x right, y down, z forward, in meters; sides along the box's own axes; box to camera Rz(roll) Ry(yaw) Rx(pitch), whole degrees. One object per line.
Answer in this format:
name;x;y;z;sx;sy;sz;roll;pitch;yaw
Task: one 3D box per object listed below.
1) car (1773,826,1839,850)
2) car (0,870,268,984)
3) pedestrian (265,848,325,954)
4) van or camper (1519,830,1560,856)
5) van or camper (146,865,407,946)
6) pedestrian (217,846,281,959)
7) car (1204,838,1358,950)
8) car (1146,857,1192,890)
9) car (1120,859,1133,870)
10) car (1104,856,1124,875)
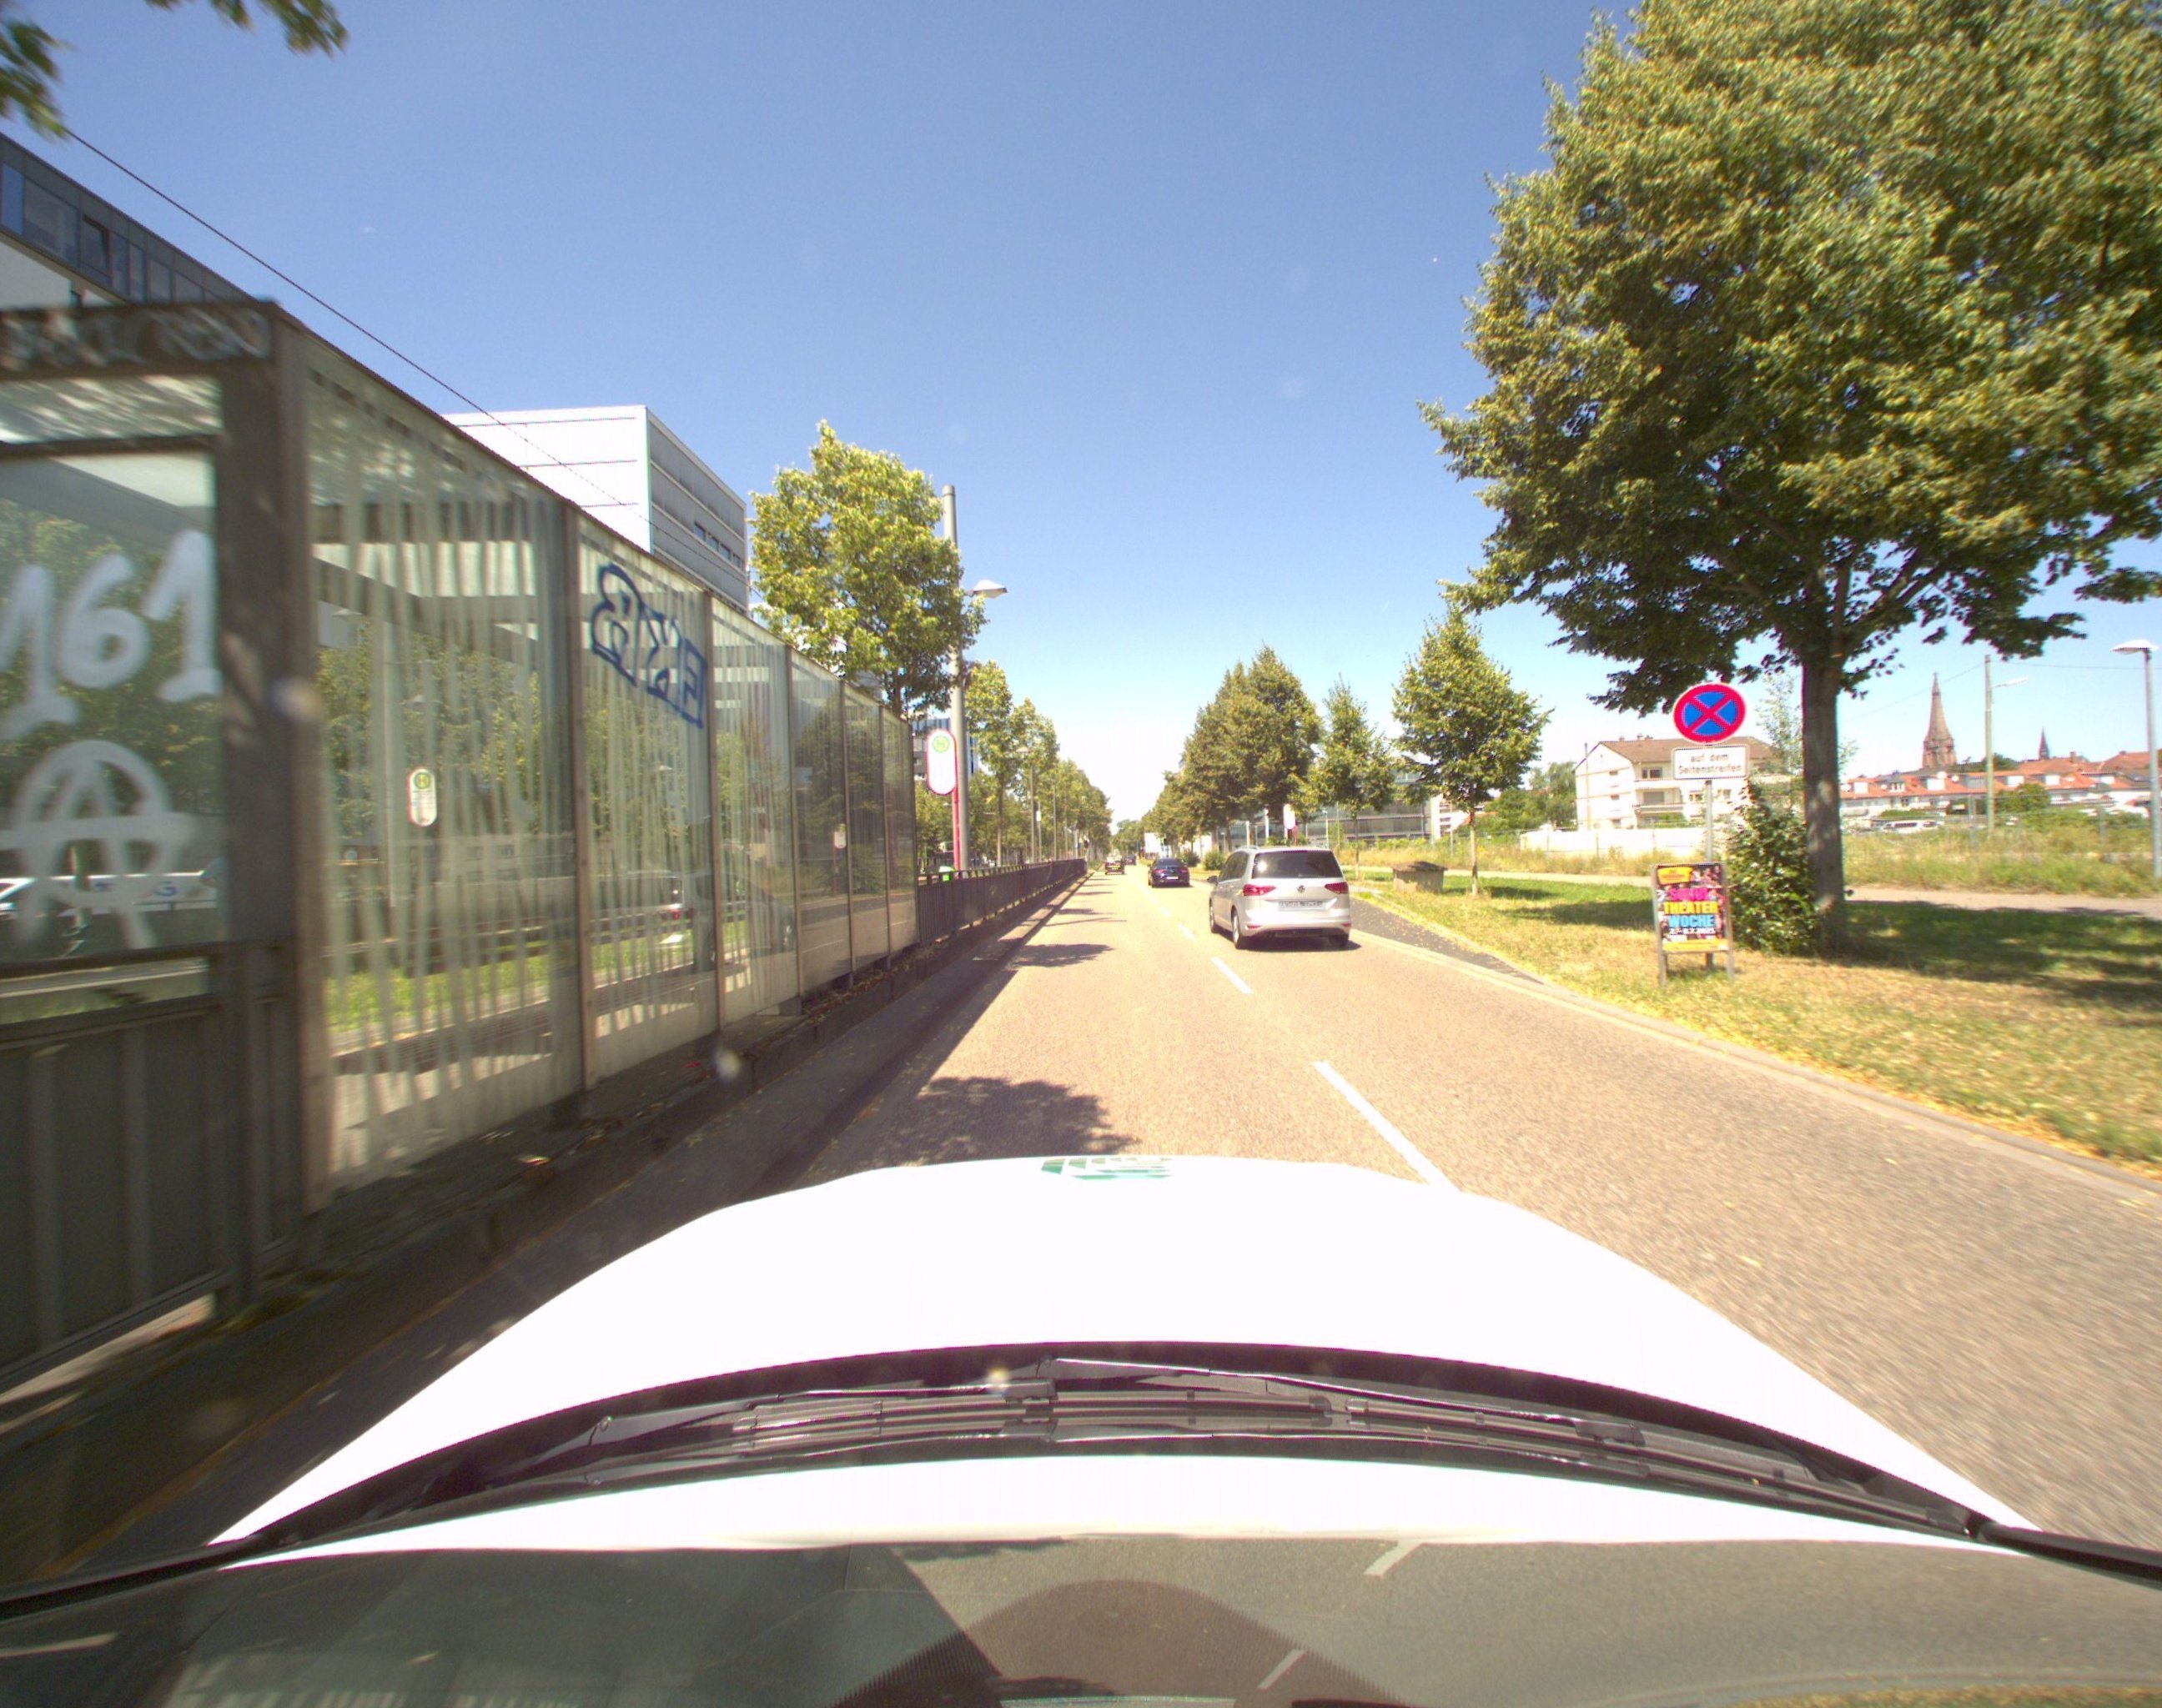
car;54.535;-1.179;61.344;1.670;1.586;3.620;-3;-2;-1
car;-18.678;1.266;14.862;2.453;1.806;5.072;-2;-1;1
pedestrian;-13.316;0.781;13.808;0.408;1.752;0.585;-2;-1;-1
van or camper;53.798;-1.237;95.607;1.989;2.802;4.658;-2;-1;-2
van or camper;-27.474;1.615;28.368;2.169;2.386;6.774;-2;-1;2
pedestrian;-13.367;0.762;13.094;0.408;1.752;0.585;-2;-1;-1
car;3.310;0.628;14.399;1.793;1.649;4.607;0;-1;3
car;4.178;0.905;39.475;1.844;1.436;4.958;-2;-1;2
car;6.894;1.607;123.830;1.760;1.627;3.716;-2;-1;1
car;2.726;0.959;67.634;1.612;1.451;3.987;-2;-2;2
